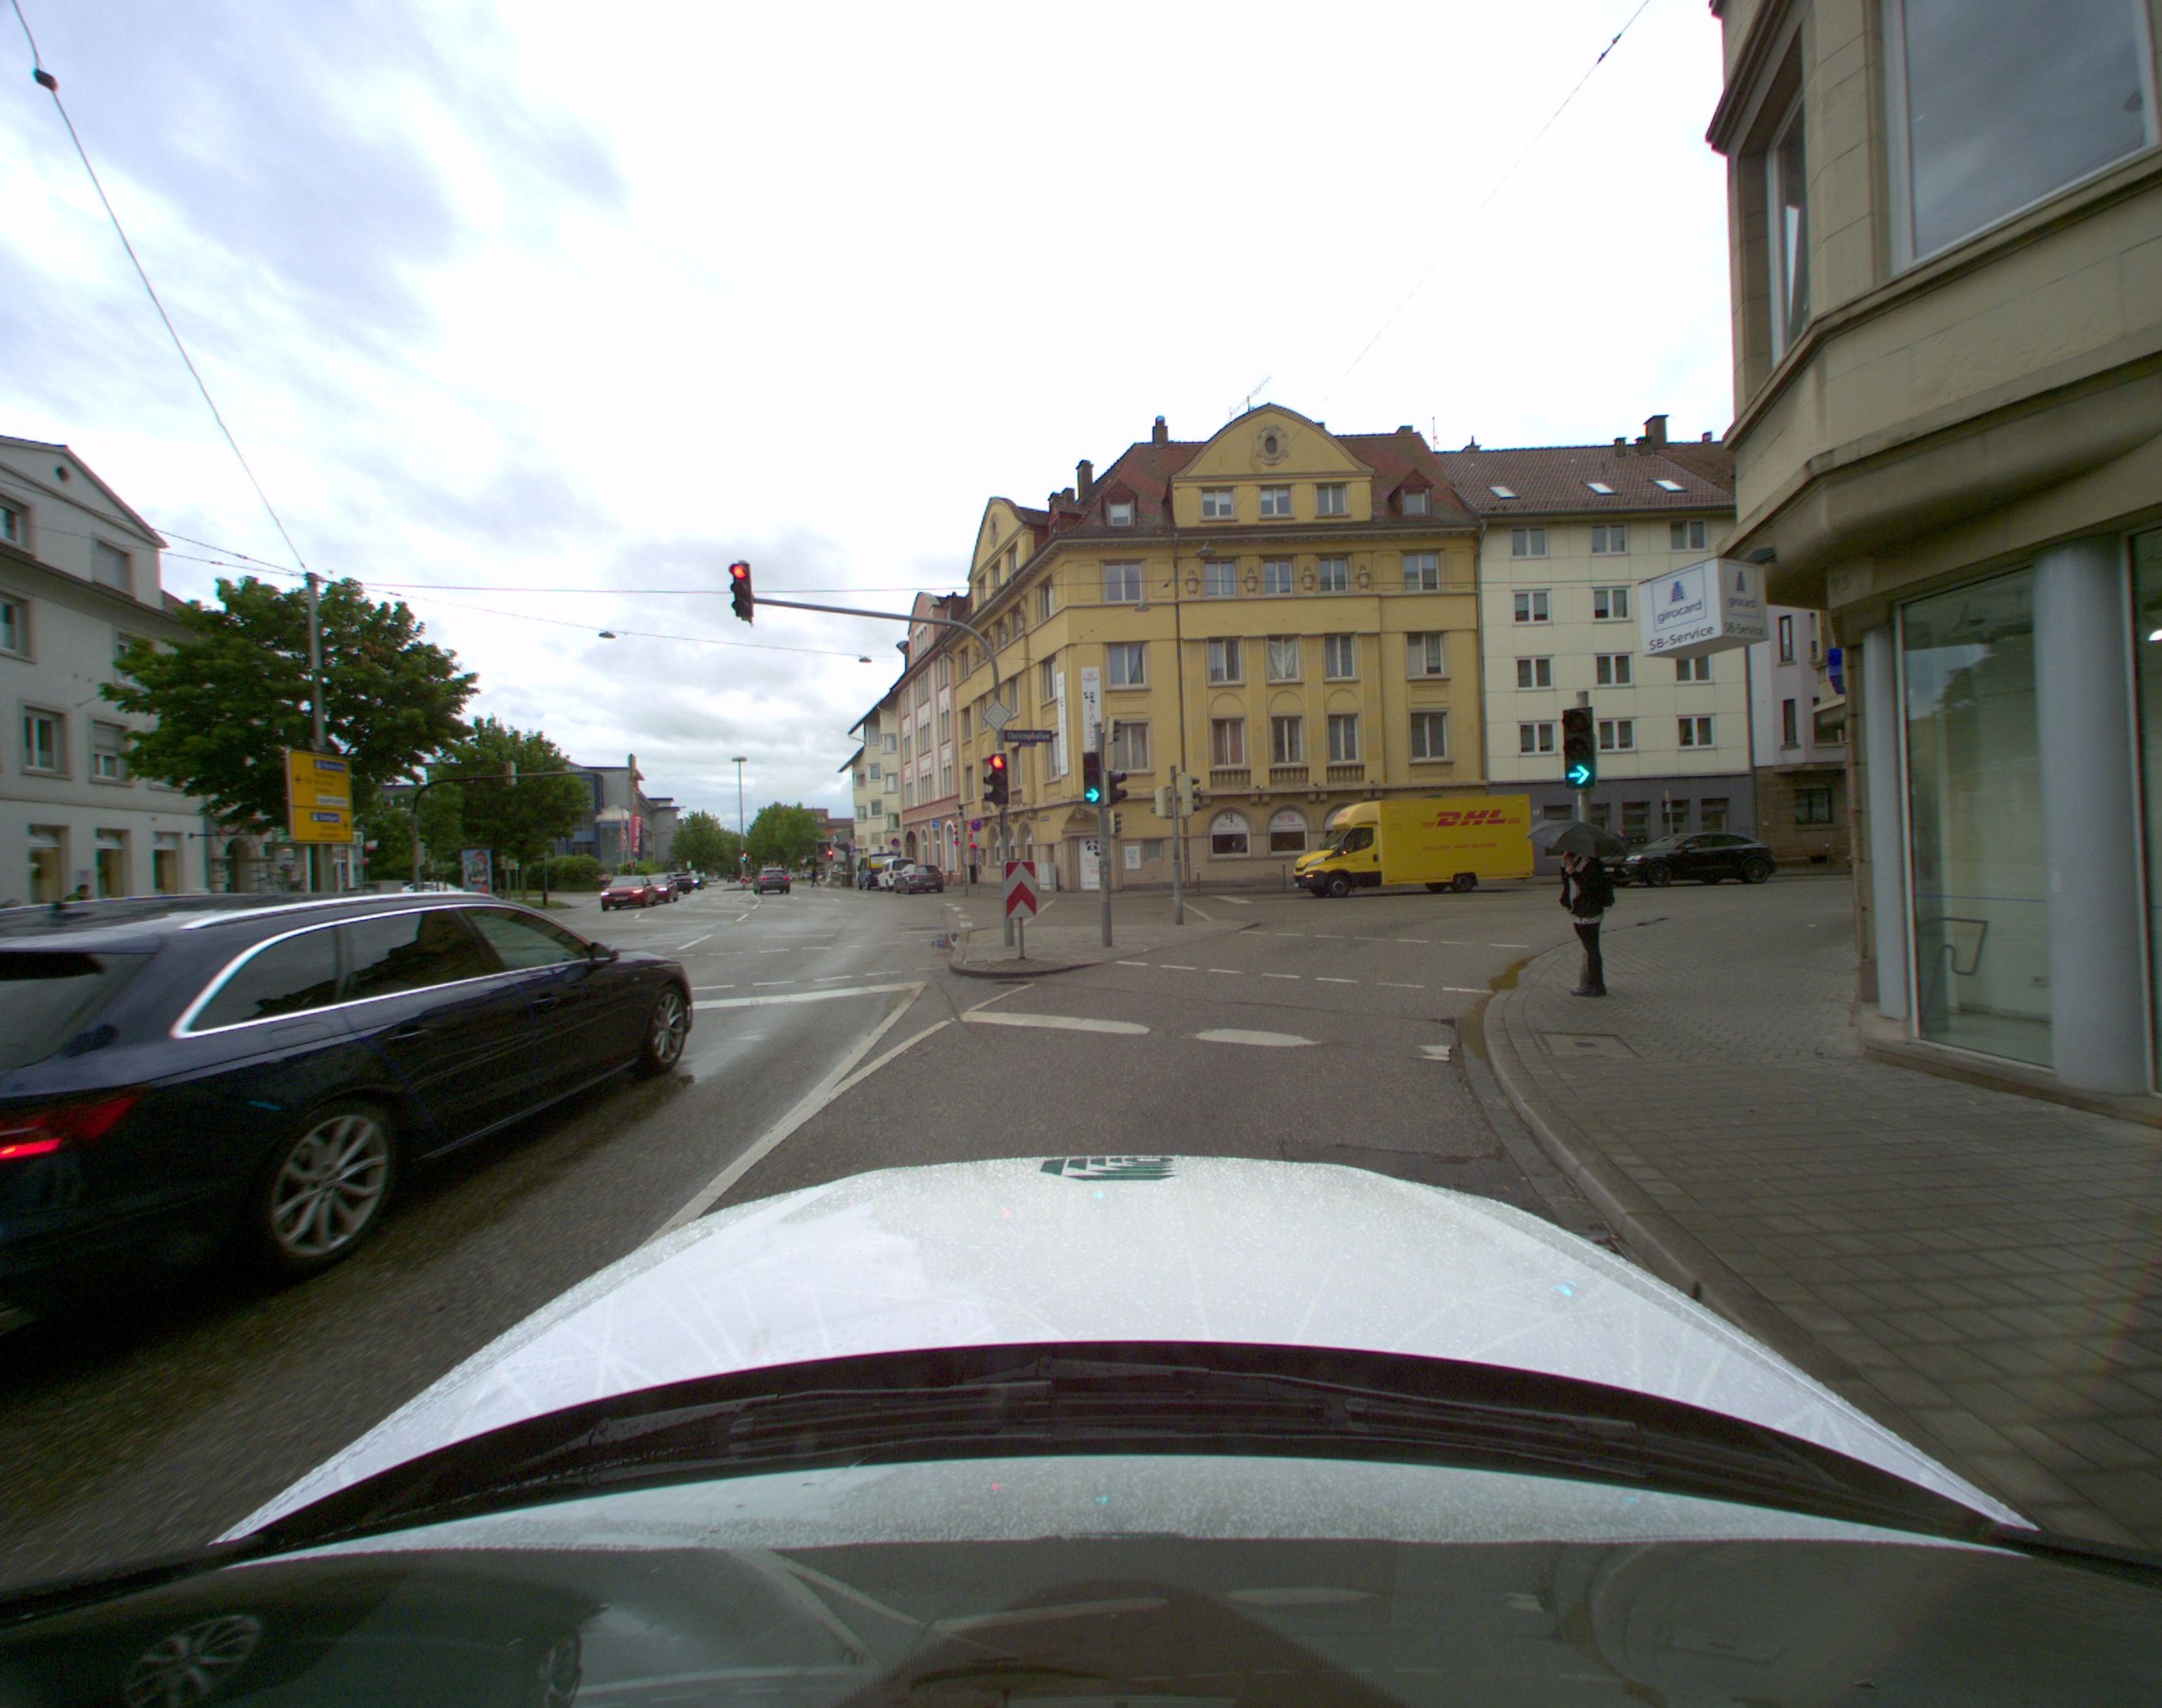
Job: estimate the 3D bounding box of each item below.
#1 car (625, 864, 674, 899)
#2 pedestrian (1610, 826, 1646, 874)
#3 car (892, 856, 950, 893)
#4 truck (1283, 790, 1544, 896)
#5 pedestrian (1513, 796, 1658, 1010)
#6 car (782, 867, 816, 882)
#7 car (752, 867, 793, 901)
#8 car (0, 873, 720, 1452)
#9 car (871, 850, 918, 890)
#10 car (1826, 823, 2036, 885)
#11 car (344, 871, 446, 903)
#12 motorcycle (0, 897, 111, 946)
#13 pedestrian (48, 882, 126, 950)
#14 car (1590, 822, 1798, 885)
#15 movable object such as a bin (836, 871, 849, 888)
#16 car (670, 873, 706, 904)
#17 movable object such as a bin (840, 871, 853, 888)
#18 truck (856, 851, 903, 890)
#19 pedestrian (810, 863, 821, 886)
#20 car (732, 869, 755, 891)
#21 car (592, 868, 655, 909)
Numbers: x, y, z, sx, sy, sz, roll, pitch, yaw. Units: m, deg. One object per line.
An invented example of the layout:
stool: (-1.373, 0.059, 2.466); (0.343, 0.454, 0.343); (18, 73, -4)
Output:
car: (-21.788, 1.342, 41.248); (1.770, 1.634, 3.599); (-2, 0, -21)
pedestrian: (20.772, -0.159, 30.940); (0.787, 1.791, 0.763); (-2, 0, -1)
car: (-7.952, 1.004, 40.140); (1.888, 1.637, 3.967); (-3, 0, -24)
truck: (9.969, -0.315, 24.818); (7.070, 2.851, 2.082); (-2, -1, -1)
pedestrian: (4.841, 0.439, 7.920); (1.047, 1.903, 1.031); (-2, 0, 26)
car: (-39.056, 2.803, 112.868); (4.017, 2.014, 1.978); (1, -1, -36)
car: (-18.306, 1.720, 48.241); (2.003, 1.816, 3.968); (-2, 0, -24)
car: (-3.751, 0.847, 4.284); (1.799, 1.406, 4.678); (-1, -1, -3)
car: (-10.652, 0.876, 46.394); (1.771, 2.180, 3.966); (-1, 0, -25)
car: (26.029, 0.003, 25.062); (4.382, 1.684, 1.950); (-2, 0, 1)
car: (-43.912, 2.087, 52.213); (4.534, 1.793, 1.993); (-2, 0, -10)
motorcycle: (-29.591, 1.913, 23.459); (0.720, 1.178, 2.576); (-2, 0, -15)
pedestrian: (-26.610, 1.641, 21.823); (0.967, 1.708, 0.927); (-2, 0, -26)
car: (18.429, -0.018, 24.639); (4.796, 1.684, 1.999); (-2, 0, -1)
movable object such as a bin: (-18.172, 1.914, 62.101); (0.751, 1.231, 0.976); (3, -2, -24)
car: (-28.520, 2.454, 59.165); (2.001, 2.013, 3.971); (-2, 0, -21)
movable object such as a bin: (-17.426, 1.908, 60.560); (0.751, 1.231, 0.976); (3, -2, -24)
truck: (-12.847, 1.009, 51.746); (2.036, 2.389, 4.201); (-1, 0, -25)
pedestrian: (-22.682, 1.731, 69.491); (0.726, 1.937, 0.786); (-2, 0, -27)
car: (-34.771, 2.649, 83.865); (2.003, 2.013, 3.968); (-2, 0, -24)
car: (-20.197, 1.470, 36.095); (1.851, 1.684, 3.971); (0, -1, -22)
